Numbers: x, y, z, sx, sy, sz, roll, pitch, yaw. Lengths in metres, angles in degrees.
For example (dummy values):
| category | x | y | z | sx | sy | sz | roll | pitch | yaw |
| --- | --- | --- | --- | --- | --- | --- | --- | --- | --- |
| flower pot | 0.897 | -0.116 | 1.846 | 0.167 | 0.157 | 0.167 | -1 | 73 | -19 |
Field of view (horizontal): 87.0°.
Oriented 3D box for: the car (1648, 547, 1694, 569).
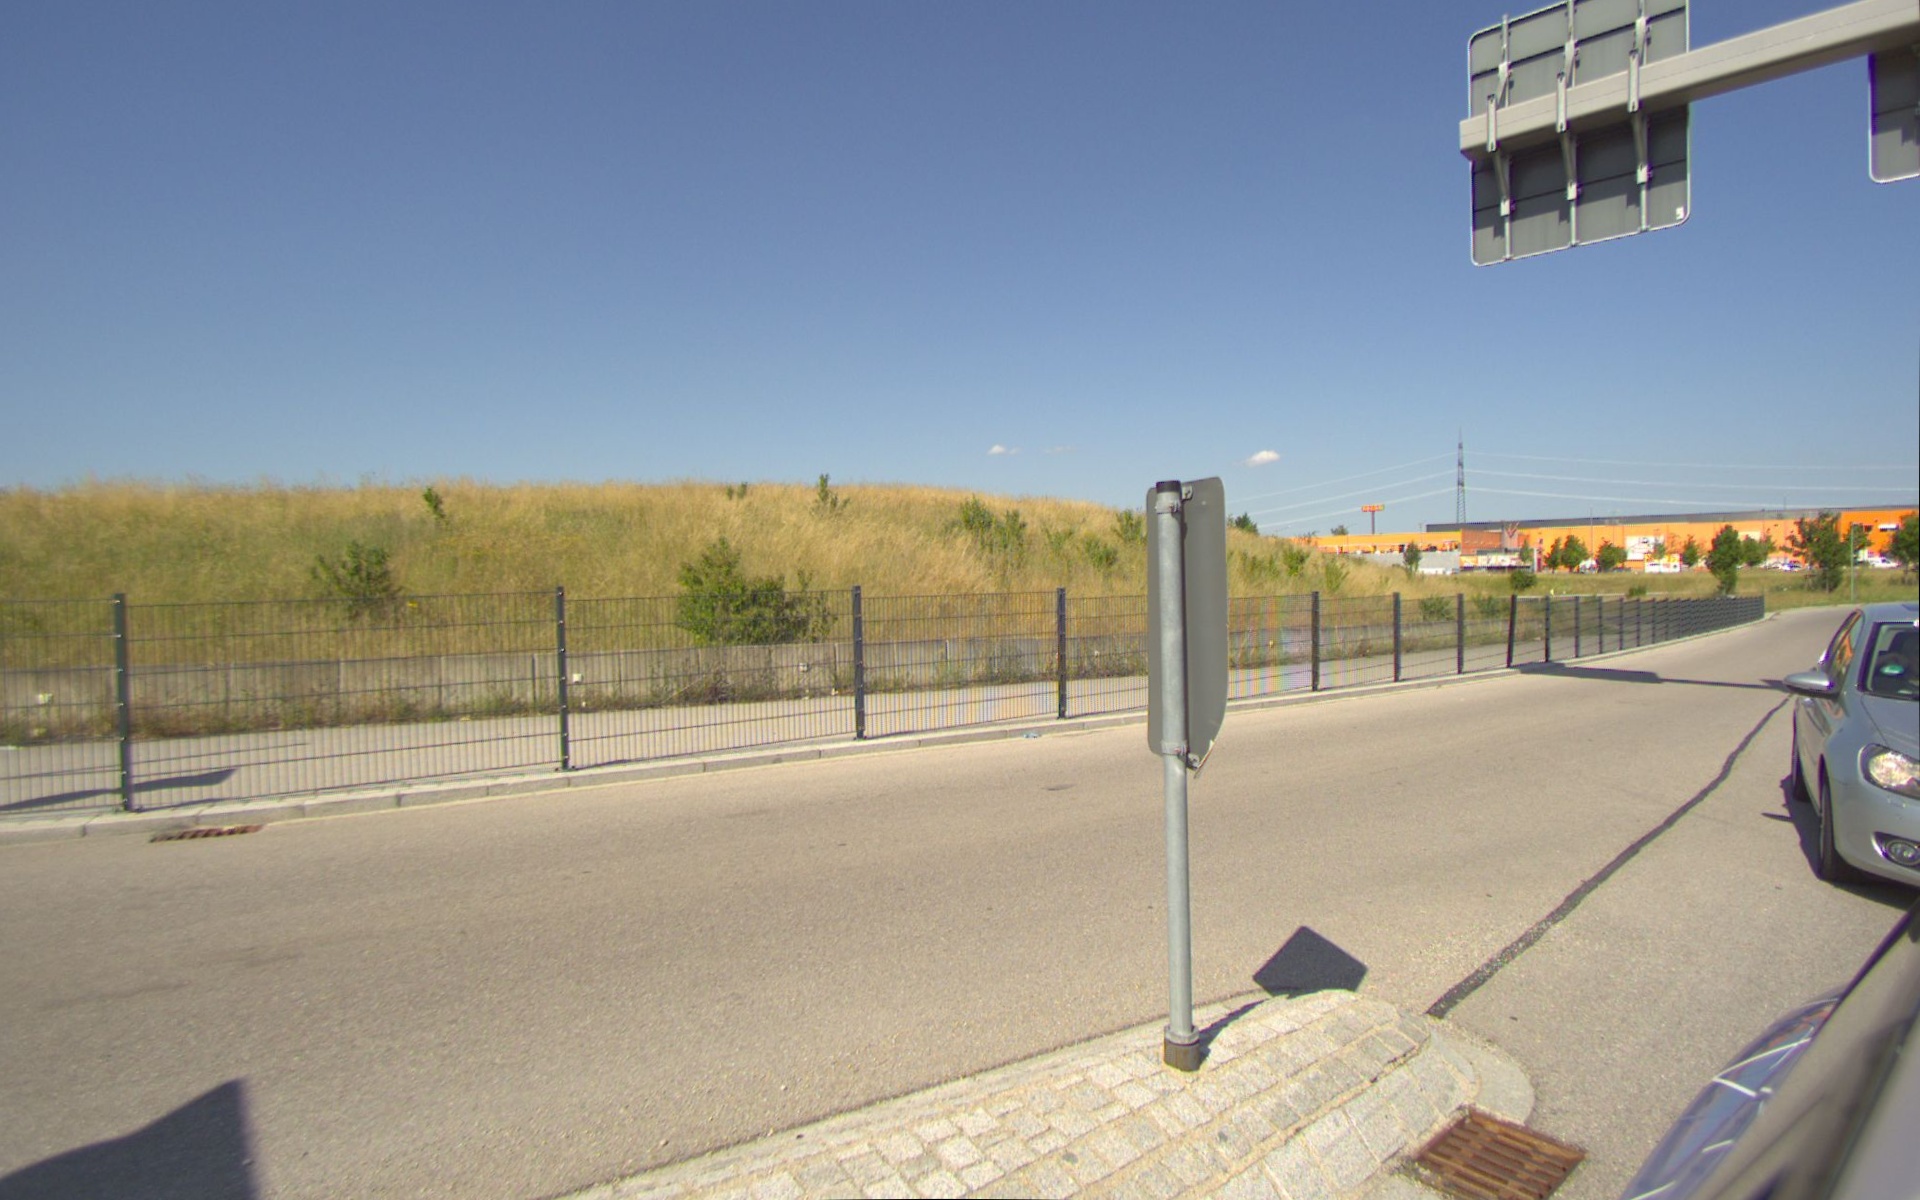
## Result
| category | x | y | z | sx | sy | sz | roll | pitch | yaw |
| --- | --- | --- | --- | --- | --- | --- | --- | --- | --- |
| car | 88.349 | -5.189 | 125.794 | 4.611 | 2.580 | 1.973 | -1 | 0 | 38 |

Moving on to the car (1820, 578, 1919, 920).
| category | x | y | z | sx | sy | sz | roll | pitch | yaw |
| --- | --- | --- | --- | --- | --- | --- | --- | --- | --- |
| car | 5.900 | 0.650 | 5.539 | 1.741 | 1.486 | 3.902 | 3 | 3 | 41 |

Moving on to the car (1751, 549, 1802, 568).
| category | x | y | z | sx | sy | sz | roll | pitch | yaw |
| --- | --- | --- | --- | --- | --- | --- | --- | --- | --- |
| car | 96.035 | -4.866 | 119.076 | 4.611 | 2.039 | 1.973 | -1 | 1 | 38 |
